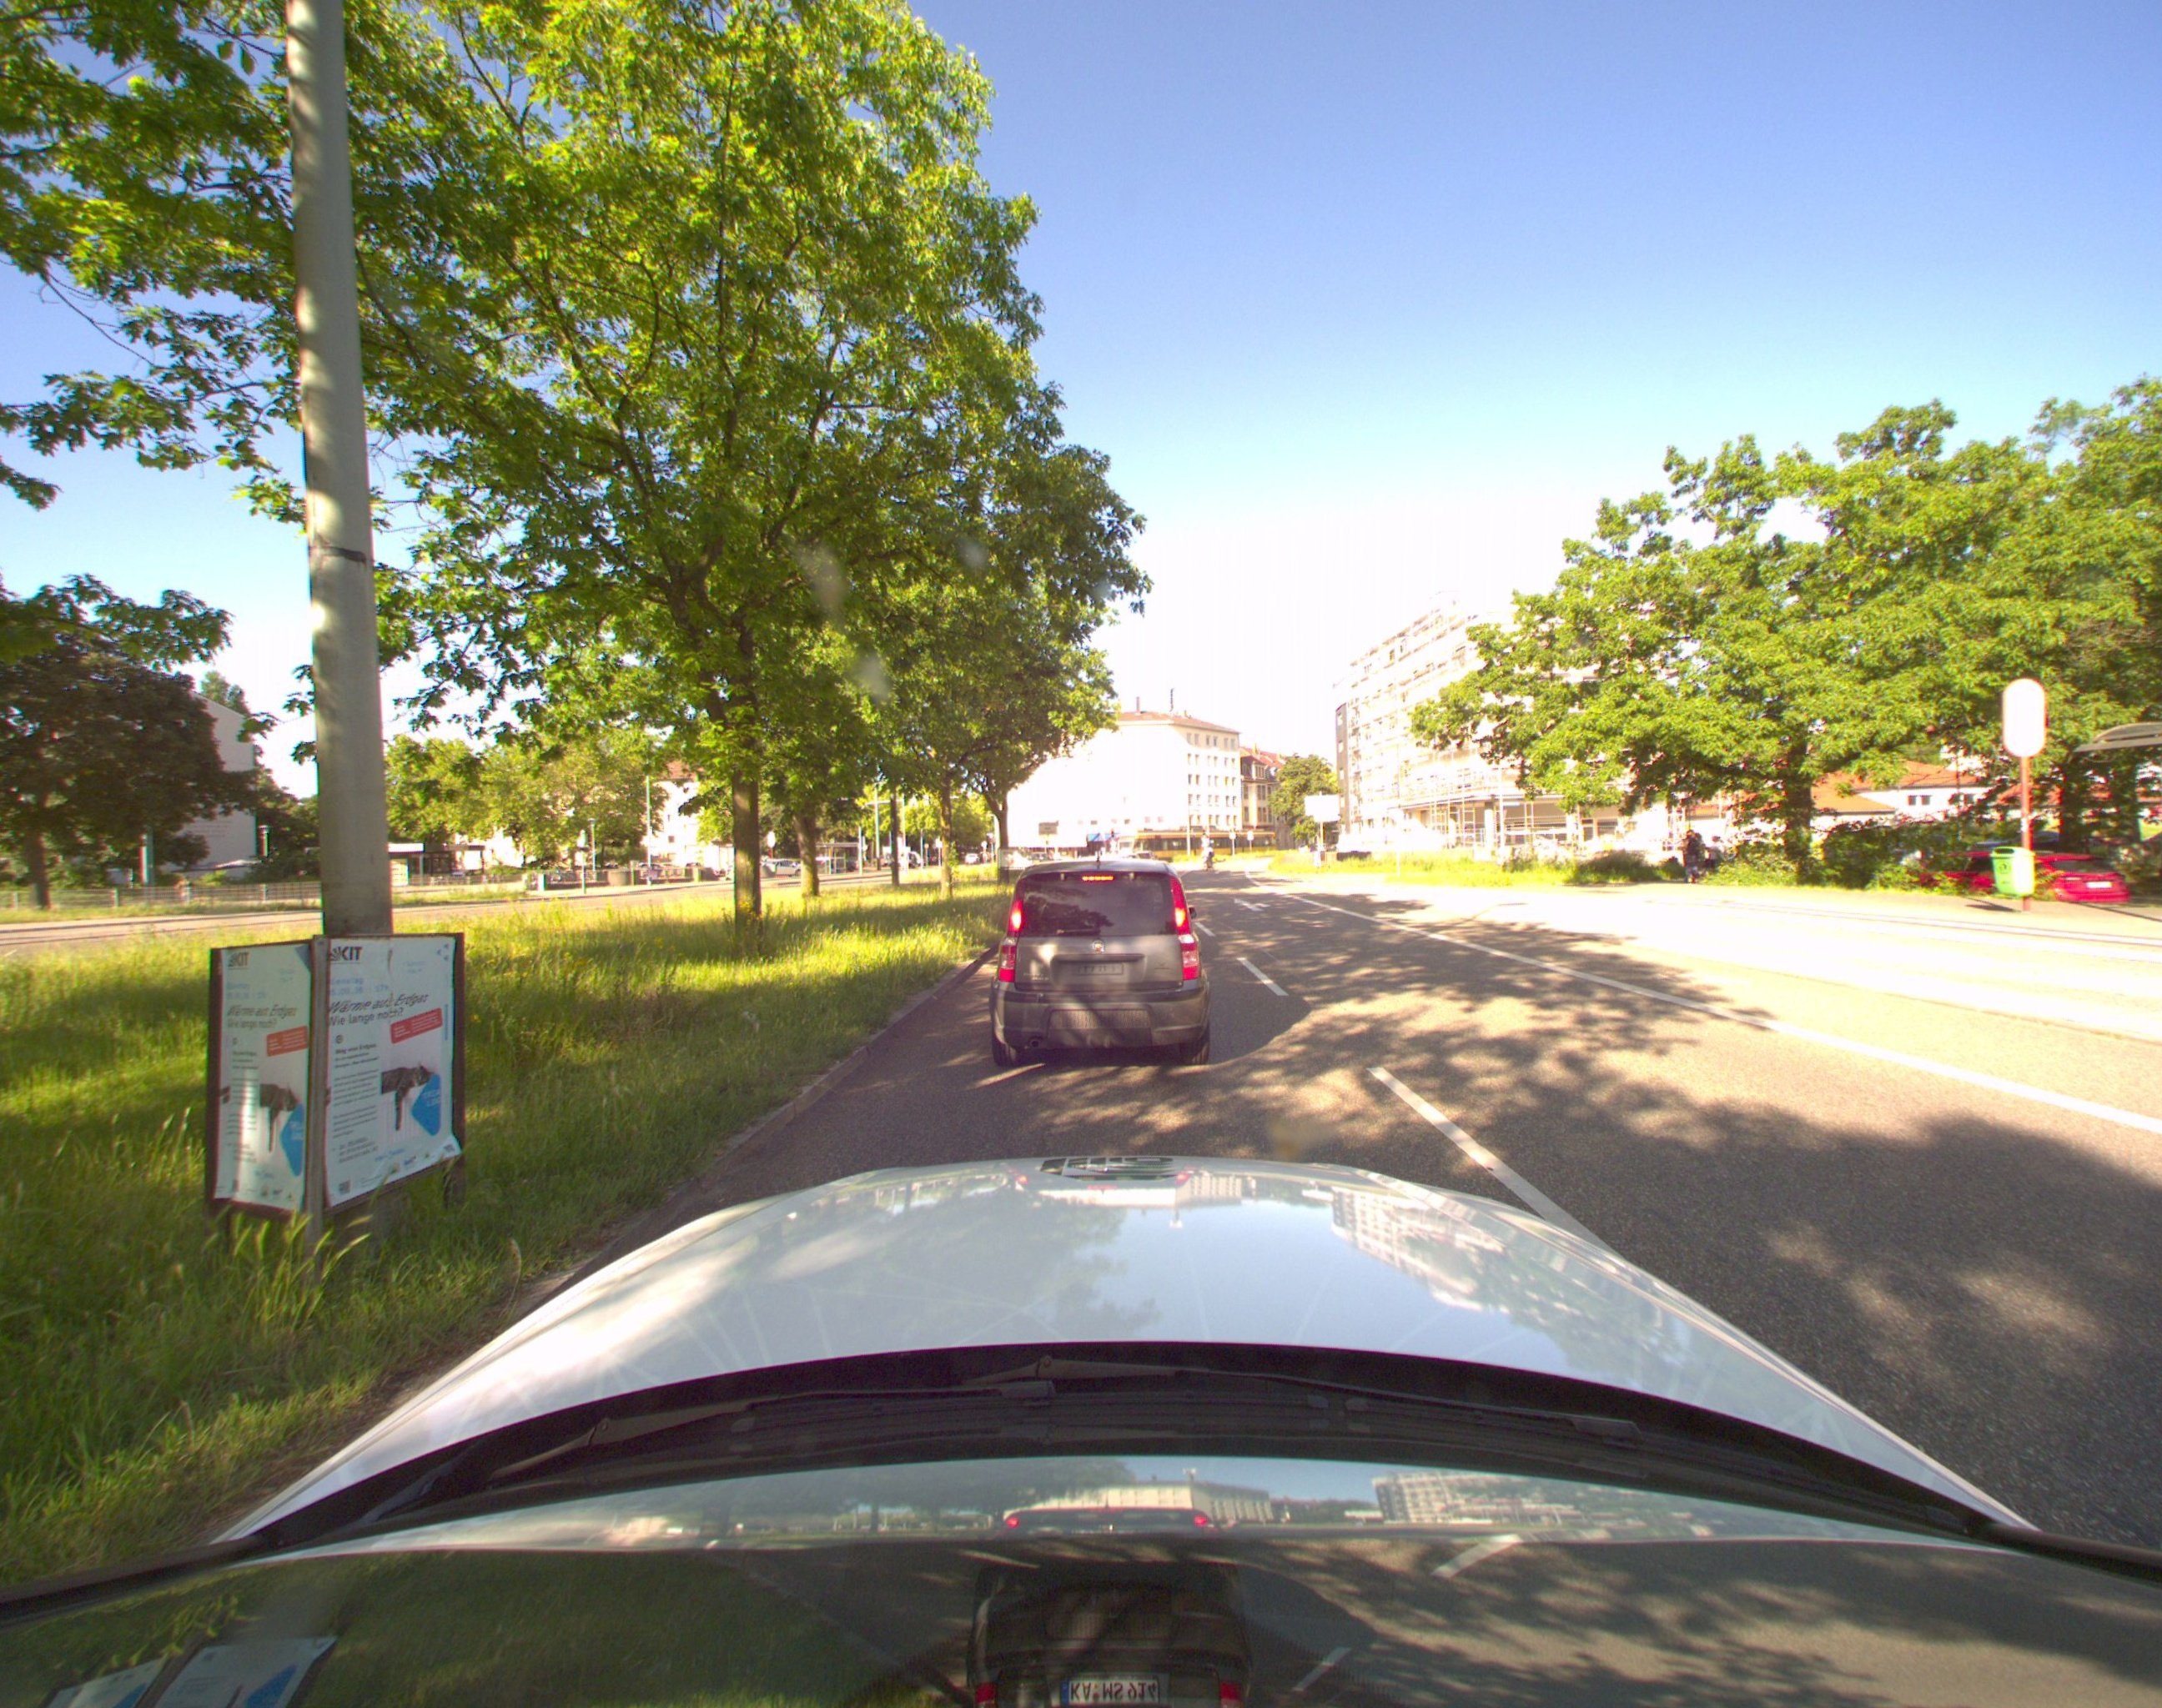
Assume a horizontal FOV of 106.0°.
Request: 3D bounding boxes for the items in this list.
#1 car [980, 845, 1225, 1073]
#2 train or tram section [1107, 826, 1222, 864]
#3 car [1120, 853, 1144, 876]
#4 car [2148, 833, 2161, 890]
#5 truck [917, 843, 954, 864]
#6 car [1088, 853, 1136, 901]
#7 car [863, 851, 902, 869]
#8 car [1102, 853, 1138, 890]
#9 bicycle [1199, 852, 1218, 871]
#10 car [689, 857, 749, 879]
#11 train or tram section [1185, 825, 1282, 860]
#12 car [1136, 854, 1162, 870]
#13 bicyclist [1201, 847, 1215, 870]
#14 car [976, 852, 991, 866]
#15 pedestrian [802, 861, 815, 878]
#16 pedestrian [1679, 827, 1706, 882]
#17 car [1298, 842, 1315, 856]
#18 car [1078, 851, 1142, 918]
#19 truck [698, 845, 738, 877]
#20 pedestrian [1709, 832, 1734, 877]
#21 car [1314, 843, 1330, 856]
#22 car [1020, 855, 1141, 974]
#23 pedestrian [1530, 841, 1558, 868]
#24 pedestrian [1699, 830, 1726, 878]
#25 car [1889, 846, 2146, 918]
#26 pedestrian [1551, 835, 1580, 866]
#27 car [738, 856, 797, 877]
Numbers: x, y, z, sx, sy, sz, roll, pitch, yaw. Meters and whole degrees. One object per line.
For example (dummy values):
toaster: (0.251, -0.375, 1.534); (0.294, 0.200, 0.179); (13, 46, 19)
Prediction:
car: (0.207, 0.702, 7.538); (1.622, 1.508, 4.002); (-2, 0, 2)
train or tram section: (9.186, -1.029, 84.731); (3.263, 3.513, 19.509); (-2, 0, 33)
car: (3.096, 0.621, 49.681); (1.351, 1.281, 2.877); (-2, 0, 2)
car: (29.862, 0.170, 20.183); (1.911, 1.486, 3.725); (-2, 0, -17)
truck: (-23.011, -0.138, 128.573); (5.425, 3.168, 2.358); (-2, 0, 30)
car: (1.031, 0.727, 27.401); (1.458, 1.424, 3.383); (-2, 0, 2)
car: (-24.000, 0.722, 98.751); (4.164, 2.013, 1.931); (-2, 0, -1)
car: (1.603, 0.692, 33.970); (1.351, 1.449, 3.267); (-2, 0, 2)
bicycle: (8.141, 0.493, 52.036); (0.707, 1.198, 2.517); (0, -1, -3)
car: (-30.206, 1.169, 68.011); (1.974, 1.684, 4.025); (-2, 0, 40)
train or tram section: (19.102, -1.463, 99.653); (3.263, 3.770, 20.944); (-2, 0, 35)
car: (4.865, 0.575, 57.719); (1.133, 1.064, 2.735); (-2, 0, 19)
bicyclist: (8.110, 0.273, 52.027); (0.740, 1.438, 0.844); (0, -1, -3)
car: (-14.844, 0.735, 124.162); (1.988, 2.013, 3.997); (-2, 0, -2)
pedestrian: (-26.234, 1.510, 78.484); (0.910, 1.607, 0.802); (-2, 0, 41)
pedestrian: (18.549, 0.013, 24.711); (0.516, 1.612, 0.595); (-2, 0, 28)
car: (24.913, -0.536, 90.001); (1.669, 1.449, 3.588); (-2, 0, 18)
car: (0.727, 0.698, 20.797); (1.458, 1.508, 3.506); (-2, 0, 2)
truck: (-33.076, 0.634, 74.205); (2.012, 2.805, 3.951); (-2, 0, -44)
pedestrian: (20.918, 0.013, 26.586); (0.516, 1.447, 0.595); (-2, 0, 28)
car: (27.739, -0.533, 93.563); (1.514, 1.314, 3.304); (-2, 0, 20)
car: (0.052, 0.747, 11.766); (1.458, 1.401, 3.395); (-2, 0, 2)
pedestrian: (25.260, 0.019, 44.443); (0.893, 1.447, 0.962); (-2, 0, -13)
pedestrian: (19.258, 0.000, 24.832); (0.516, 1.447, 0.595); (-2, 0, 28)
car: (21.989, 0.597, 19.379); (1.747, 1.486, 3.743); (-2, 0, -2)
pedestrian: (26.402, -0.213, 44.413); (0.891, 1.653, 0.981); (-2, 0, -20)
car: (-27.319, 1.071, 71.069); (1.974, 1.684, 4.348); (-2, 0, 40)
